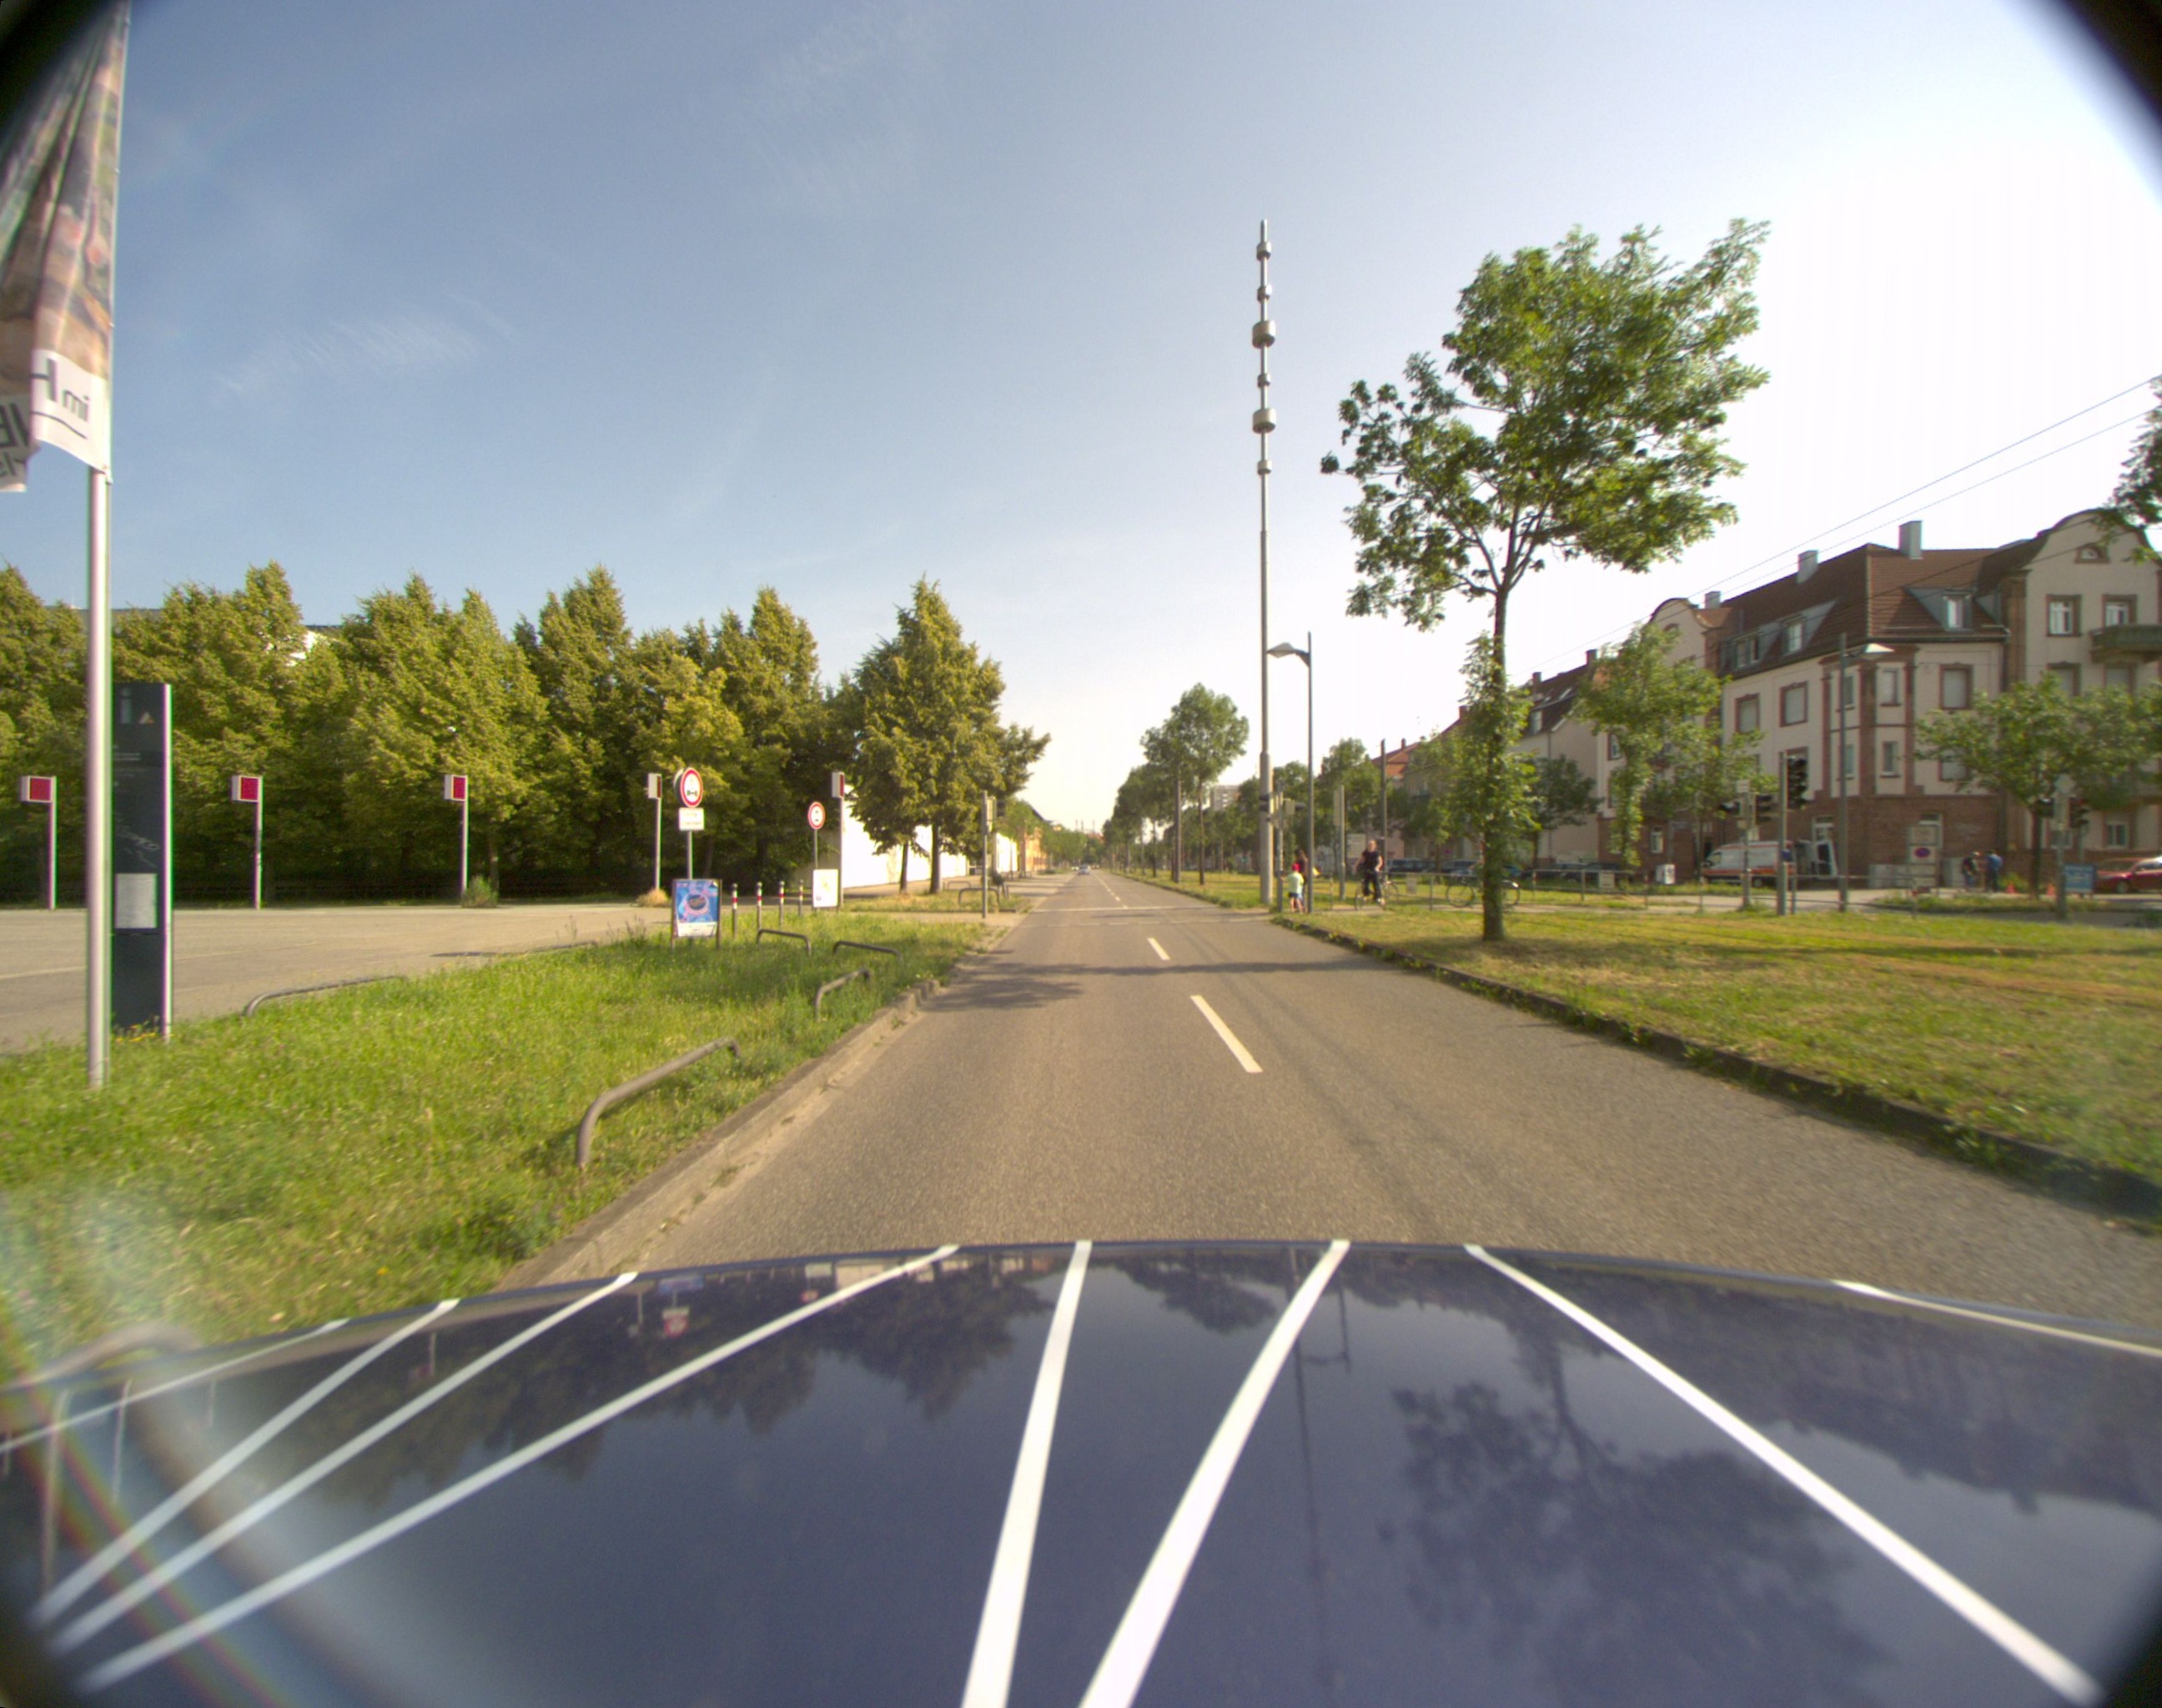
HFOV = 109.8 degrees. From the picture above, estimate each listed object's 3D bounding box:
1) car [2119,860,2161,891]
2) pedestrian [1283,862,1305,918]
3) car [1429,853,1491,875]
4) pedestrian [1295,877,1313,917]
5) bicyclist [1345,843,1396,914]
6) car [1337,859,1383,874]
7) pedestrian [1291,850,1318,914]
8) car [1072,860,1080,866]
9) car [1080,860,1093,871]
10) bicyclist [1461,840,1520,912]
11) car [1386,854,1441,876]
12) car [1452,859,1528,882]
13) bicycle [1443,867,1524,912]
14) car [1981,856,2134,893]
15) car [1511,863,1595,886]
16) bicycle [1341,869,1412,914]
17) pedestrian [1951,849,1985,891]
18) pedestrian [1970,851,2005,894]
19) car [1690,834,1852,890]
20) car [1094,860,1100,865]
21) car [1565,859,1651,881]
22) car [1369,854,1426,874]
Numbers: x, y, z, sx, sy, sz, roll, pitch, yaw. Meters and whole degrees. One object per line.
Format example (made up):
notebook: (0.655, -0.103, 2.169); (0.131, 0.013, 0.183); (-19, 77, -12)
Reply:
car: (48.764, 0.913, 33.348); (3.893, 1.278, 1.735); (-2, 0, 3)
pedestrian: (5.205, 0.871, 18.551); (0.456, 1.350, 0.549); (0, 0, 20)
car: (28.963, 0.755, 58.105); (4.053, 1.545, 1.919); (-2, 0, 31)
pedestrian: (5.561, 1.065, 18.969); (0.411, 0.975, 0.421); (0, 0, 15)
bicyclist: (7.584, 0.630, 19.935); (0.872, 1.812, 0.907); (0, 0, -19)
car: (30.370, 1.312, 82.729); (4.490, 1.482, 2.004); (-2, 0, 29)
pedestrian: (5.740, 0.713, 19.532); (0.610, 1.594, 0.736); (0, 0, 14)
car: (-1.229, 2.366, 200.007); (1.998, 1.652, 4.000); (0, 0, 0)
car: (0.811, 1.726, 116.403); (1.998, 1.652, 4.000); (0, 0, 0)
bicyclist: (10.718, 0.569, 19.951); (1.185, 1.840, 0.911); (-2, 1, 18)
car: (27.989, 0.959, 63.988); (3.989, 1.696, 1.878); (-2, 0, 29)
car: (28.211, 1.126, 52.461); (4.503, 1.432, 2.004); (-2, 0, 32)
bicycle: (10.551, 0.935, 19.993); (1.789, 1.139, 0.577); (-2, 1, 18)
car: (42.886, 0.892, 33.448); (3.996, 1.455, 2.000); (-2, 0, 3)
car: (29.297, 1.296, 47.247); (4.332, 1.318, 2.004); (-2, 0, 32)
bicycle: (7.769, 0.962, 20.003); (1.754, 1.139, 0.576); (0, 0, -16)
pedestrian: (37.655, 0.687, 32.274); (0.669, 1.738, 0.633); (-2, 1, 1)
pedestrian: (37.413, 0.735, 31.354); (0.669, 1.738, 0.633); (-2, 1, 1)
car: (35.308, 0.372, 39.264); (2.354, 2.549, 6.507); (-2, 0, -1)
car: (5.015, 2.626, 240.061); (1.998, 1.652, 4.000); (0, 0, 0)
car: (29.078, 0.899, 42.066); (3.840, 1.121, 1.772); (-2, 0, 32)
car: (28.559, 0.918, 68.614); (4.490, 1.596, 2.004); (-2, 0, 29)
